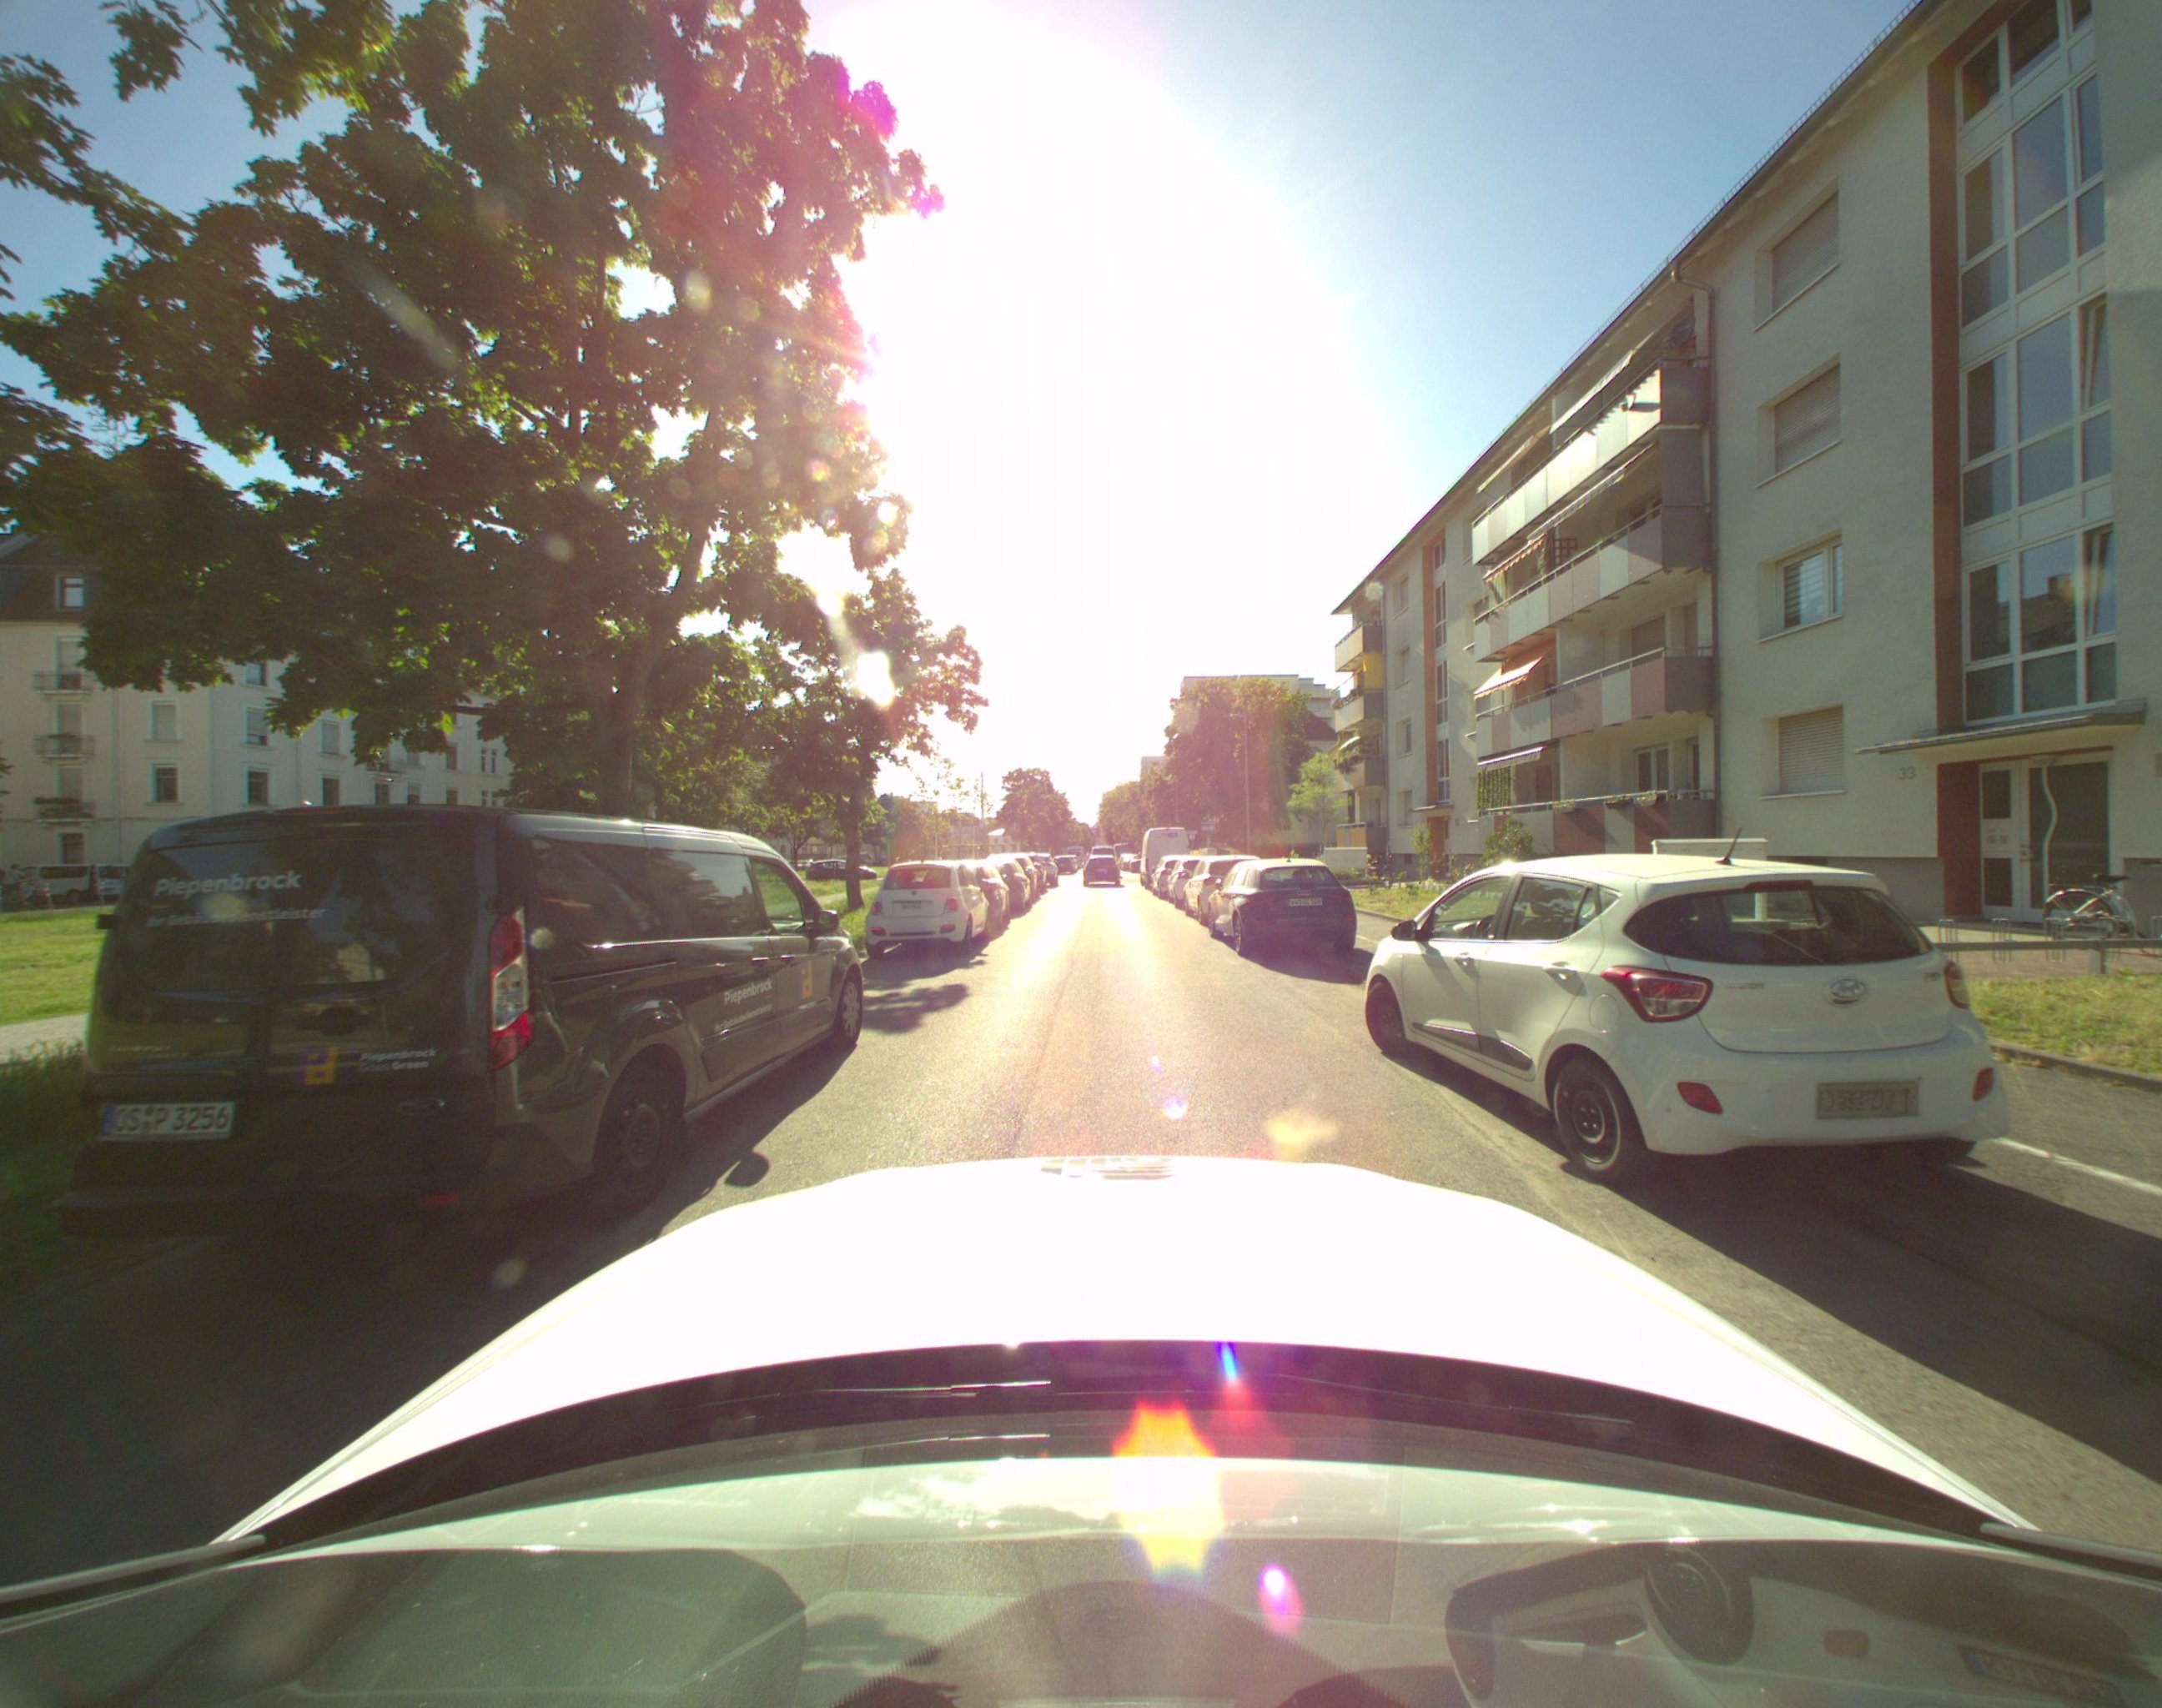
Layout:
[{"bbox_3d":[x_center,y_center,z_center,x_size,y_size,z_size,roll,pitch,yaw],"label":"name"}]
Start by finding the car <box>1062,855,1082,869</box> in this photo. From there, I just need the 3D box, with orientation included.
[{"bbox_3d":[-0.891,0.820,85.669,1.826,1.500,4.129,-1,0,2],"label":"car"}]

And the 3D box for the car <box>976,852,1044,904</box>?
[{"bbox_3d":[-2.425,0.765,28.761,1.813,1.610,4.740,-3,0,1],"label":"car"}]

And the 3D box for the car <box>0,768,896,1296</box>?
[{"bbox_3d":[-2.775,0.638,5.309,1.857,1.785,4.992,-1,-1,1],"label":"car"}]

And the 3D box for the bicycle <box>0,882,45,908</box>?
[{"bbox_3d":[-44.059,1.697,33.786,0.528,1.016,1.480,-1,0,-14],"label":"bicycle"}]

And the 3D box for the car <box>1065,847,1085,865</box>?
[{"bbox_3d":[-0.669,0.222,94.139,2.091,1.942,4.128,-1,0,1],"label":"car"}]

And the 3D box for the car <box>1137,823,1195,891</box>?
[{"bbox_3d":[3.765,0.124,37.278,2.134,2.713,6.845,-3,0,2],"label":"car"}]

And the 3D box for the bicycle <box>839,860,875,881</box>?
[{"bbox_3d":[-14.048,1.006,51.009,2.153,1.258,0.710,-1,0,-19],"label":"bicycle"}]

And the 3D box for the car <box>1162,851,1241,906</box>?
[{"bbox_3d":[3.545,0.679,24.619,1.871,1.475,4.141,-1,0,1],"label":"car"}]

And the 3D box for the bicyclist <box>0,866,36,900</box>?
[{"bbox_3d":[-44.066,1.187,33.763,0.533,1.364,0.781,-1,0,-15],"label":"bicyclist"}]

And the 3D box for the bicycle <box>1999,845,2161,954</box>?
[{"bbox_3d":[11.064,0.456,8.553,0.521,1.071,2.009,-3,0,0],"label":"bicycle"}]

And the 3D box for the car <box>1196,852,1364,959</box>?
[{"bbox_3d":[3.140,0.735,13.812,1.694,1.435,4.470,-3,0,0],"label":"car"}]

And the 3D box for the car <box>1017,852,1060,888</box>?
[{"bbox_3d":[-2.103,0.766,41.369,1.749,1.647,4.289,-3,0,2],"label":"car"}]

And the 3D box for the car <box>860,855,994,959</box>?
[{"bbox_3d":[-2.516,0.803,14.115,1.581,1.492,3.684,-3,0,0],"label":"car"}]

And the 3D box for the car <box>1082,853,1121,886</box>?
[{"bbox_3d":[1.038,0.708,39.781,1.772,1.531,4.002,0,0,2],"label":"car"}]

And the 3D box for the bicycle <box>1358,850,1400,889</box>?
[{"bbox_3d":[9.562,0.505,26.208,0.594,1.176,2.013,-1,-2,0],"label":"bicycle"}]

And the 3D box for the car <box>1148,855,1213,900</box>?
[{"bbox_3d":[3.497,0.787,29.306,1.843,1.466,4.201,0,0,0],"label":"car"}]

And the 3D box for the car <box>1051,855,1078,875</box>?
[{"bbox_3d":[-1.264,0.821,63.419,1.741,1.425,3.918,-3,-1,2],"label":"car"}]

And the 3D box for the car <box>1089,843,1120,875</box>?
[{"bbox_3d":[1.610,0.308,54.614,1.887,1.991,4.012,-3,0,2],"label":"car"}]

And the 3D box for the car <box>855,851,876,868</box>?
[{"bbox_3d":[-35.608,0.945,134.708,1.910,2.744,5.622,-1,0,-1],"label":"car"}]

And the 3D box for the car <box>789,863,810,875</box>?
[{"bbox_3d":[-35.858,1.941,103.911,1.375,1.440,3.343,-1,0,2],"label":"car"}]

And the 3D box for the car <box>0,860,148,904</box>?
[{"bbox_3d":[-49.220,1.355,39.827,4.551,2.013,2.138,-1,0,-3],"label":"car"}]

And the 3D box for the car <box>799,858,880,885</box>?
[{"bbox_3d":[-14.048,1.003,47.445,4.353,1.409,1.906,-1,2,-24],"label":"car"}]

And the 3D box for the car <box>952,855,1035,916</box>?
[{"bbox_3d":[-2.436,0.828,23.730,1.867,1.519,4.470,-3,0,0],"label":"car"}]

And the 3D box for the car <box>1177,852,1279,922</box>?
[{"bbox_3d":[3.351,0.693,19.243,1.715,1.435,4.154,-1,0,1],"label":"car"}]

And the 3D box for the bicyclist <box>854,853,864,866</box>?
[{"bbox_3d":[-31.911,0.837,117.088,0.938,1.837,1.449,-2,-1,0],"label":"bicyclist"}]

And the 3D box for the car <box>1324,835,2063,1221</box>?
[{"bbox_3d":[3.077,0.697,5.230,1.743,1.499,3.858,-1,0,-2],"label":"car"}]

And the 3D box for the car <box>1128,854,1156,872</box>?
[{"bbox_3d":[5.000,0.709,67.084,2.117,1.337,4.508,-3,0,2],"label":"car"}]

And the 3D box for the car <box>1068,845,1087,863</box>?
[{"bbox_3d":[-0.487,-0.042,126.014,2.606,2.645,6.117,-1,0,2],"label":"car"}]

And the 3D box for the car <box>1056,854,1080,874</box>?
[{"bbox_3d":[-1.055,0.809,67.939,1.770,1.495,3.877,-3,-1,2],"label":"car"}]

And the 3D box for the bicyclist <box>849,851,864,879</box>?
[{"bbox_3d":[-14.056,0.678,51.010,0.879,1.690,0.628,-1,0,-19],"label":"bicyclist"}]

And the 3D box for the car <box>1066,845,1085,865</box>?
[{"bbox_3d":[-0.696,0.124,100.552,2.090,2.496,4.129,-1,0,2],"label":"car"}]

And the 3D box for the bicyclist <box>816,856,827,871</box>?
[{"bbox_3d":[-32.603,1.149,102.312,0.938,1.837,1.450,-2,-1,1],"label":"bicyclist"}]

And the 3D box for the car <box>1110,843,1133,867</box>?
[{"bbox_3d":[4.665,0.106,94.598,2.157,2.689,5.412,-1,0,-2],"label":"car"}]

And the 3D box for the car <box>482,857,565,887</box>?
[{"bbox_3d":[-36.896,1.149,54.067,2.076,1.872,5.095,-1,0,-1],"label":"car"}]

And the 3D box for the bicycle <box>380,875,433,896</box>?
[{"bbox_3d":[-34.675,1.610,41.900,1.988,1.016,0.652,-1,0,-32],"label":"bicycle"}]

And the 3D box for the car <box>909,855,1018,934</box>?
[{"bbox_3d":[-2.519,0.812,18.560,1.750,1.492,4.667,-3,0,0],"label":"car"}]

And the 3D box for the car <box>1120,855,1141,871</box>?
[{"bbox_3d":[4.393,0.778,73.047,1.772,1.371,4.129,-1,0,2],"label":"car"}]

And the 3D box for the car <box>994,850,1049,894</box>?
[{"bbox_3d":[-2.451,0.720,34.851,1.836,1.638,4.716,-3,0,1],"label":"car"}]

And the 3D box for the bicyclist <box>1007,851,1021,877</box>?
[{"bbox_3d":[-4.124,0.603,50.007,0.787,1.596,0.696,-1,0,-2],"label":"bicyclist"}]

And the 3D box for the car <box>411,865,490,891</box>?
[{"bbox_3d":[-42.157,1.591,54.608,1.989,1.586,4.447,-1,0,-3],"label":"car"}]

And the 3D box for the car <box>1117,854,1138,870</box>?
[{"bbox_3d":[4.542,0.777,79.422,1.774,1.487,4.031,-1,0,0],"label":"car"}]

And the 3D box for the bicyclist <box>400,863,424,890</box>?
[{"bbox_3d":[-34.481,1.158,41.964,0.881,1.364,0.617,-1,0,-33],"label":"bicyclist"}]
